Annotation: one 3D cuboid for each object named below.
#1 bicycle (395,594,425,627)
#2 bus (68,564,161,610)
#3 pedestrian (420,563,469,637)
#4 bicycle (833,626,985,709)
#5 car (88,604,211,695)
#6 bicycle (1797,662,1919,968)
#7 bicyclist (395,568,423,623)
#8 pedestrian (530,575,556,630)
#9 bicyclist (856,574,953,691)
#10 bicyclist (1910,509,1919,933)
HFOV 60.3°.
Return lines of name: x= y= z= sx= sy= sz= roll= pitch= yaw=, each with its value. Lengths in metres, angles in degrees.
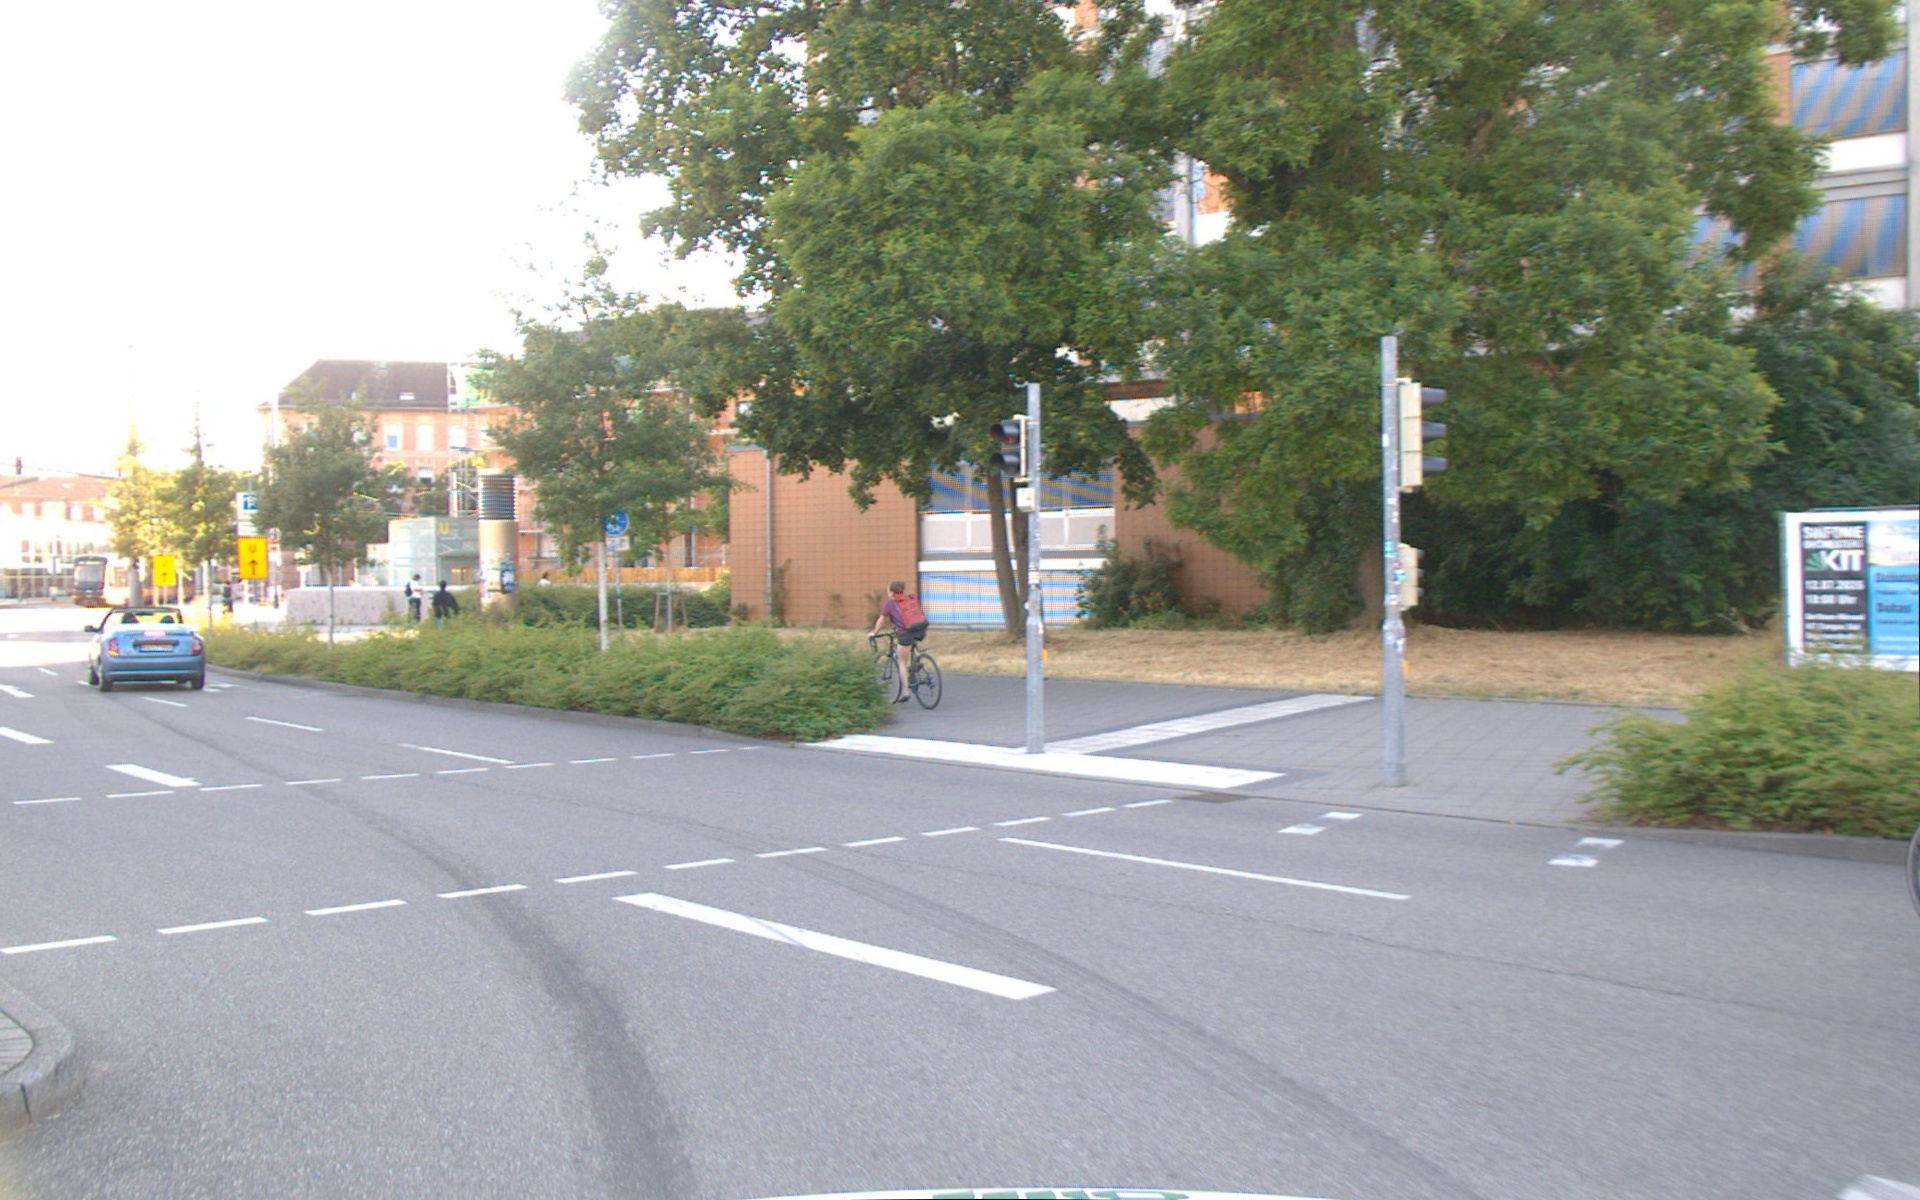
bicycle: x=-18.742 y=0.366 z=56.329 sx=0.778 sy=1.057 sz=1.949 roll=-3 pitch=1 yaw=-22
bus: x=-56.953 y=-0.909 z=111.736 sx=2.309 sy=2.933 sz=9.565 roll=-1 pitch=1 yaw=-7
pedestrian: x=-12.270 y=-0.009 z=39.359 sx=0.801 sy=1.687 sz=0.779 roll=-4 pitch=3 yaw=-40
bicycle: x=-0.668 y=0.821 z=20.642 sx=0.715 sy=0.969 sz=2.217 roll=0 pitch=-1 yaw=-39
car: x=-14.478 y=0.824 z=29.441 sx=1.781 sy=1.469 sz=3.940 roll=0 pitch=0 yaw=-29
bicycle: x=4.430 y=0.894 z=6.294 sx=0.767 sy=1.176 sz=2.275 roll=-1 pitch=1 yaw=-23
bicyclist: x=-18.751 y=-0.167 z=56.274 sx=0.776 sy=1.817 sz=0.888 roll=-3 pitch=1 yaw=-23
pedestrian: x=-13.204 y=0.078 z=52.381 sx=0.710 sy=1.688 sz=0.716 roll=1 pitch=-1 yaw=-12
bicyclist: x=-0.698 y=0.403 z=20.679 sx=0.715 sy=1.409 sz=1.060 roll=0 pitch=-1 yaw=-39
bicyclist: x=4.400 y=0.485 z=6.335 sx=0.767 sy=1.706 sz=1.085 roll=-1 pitch=1 yaw=-23
